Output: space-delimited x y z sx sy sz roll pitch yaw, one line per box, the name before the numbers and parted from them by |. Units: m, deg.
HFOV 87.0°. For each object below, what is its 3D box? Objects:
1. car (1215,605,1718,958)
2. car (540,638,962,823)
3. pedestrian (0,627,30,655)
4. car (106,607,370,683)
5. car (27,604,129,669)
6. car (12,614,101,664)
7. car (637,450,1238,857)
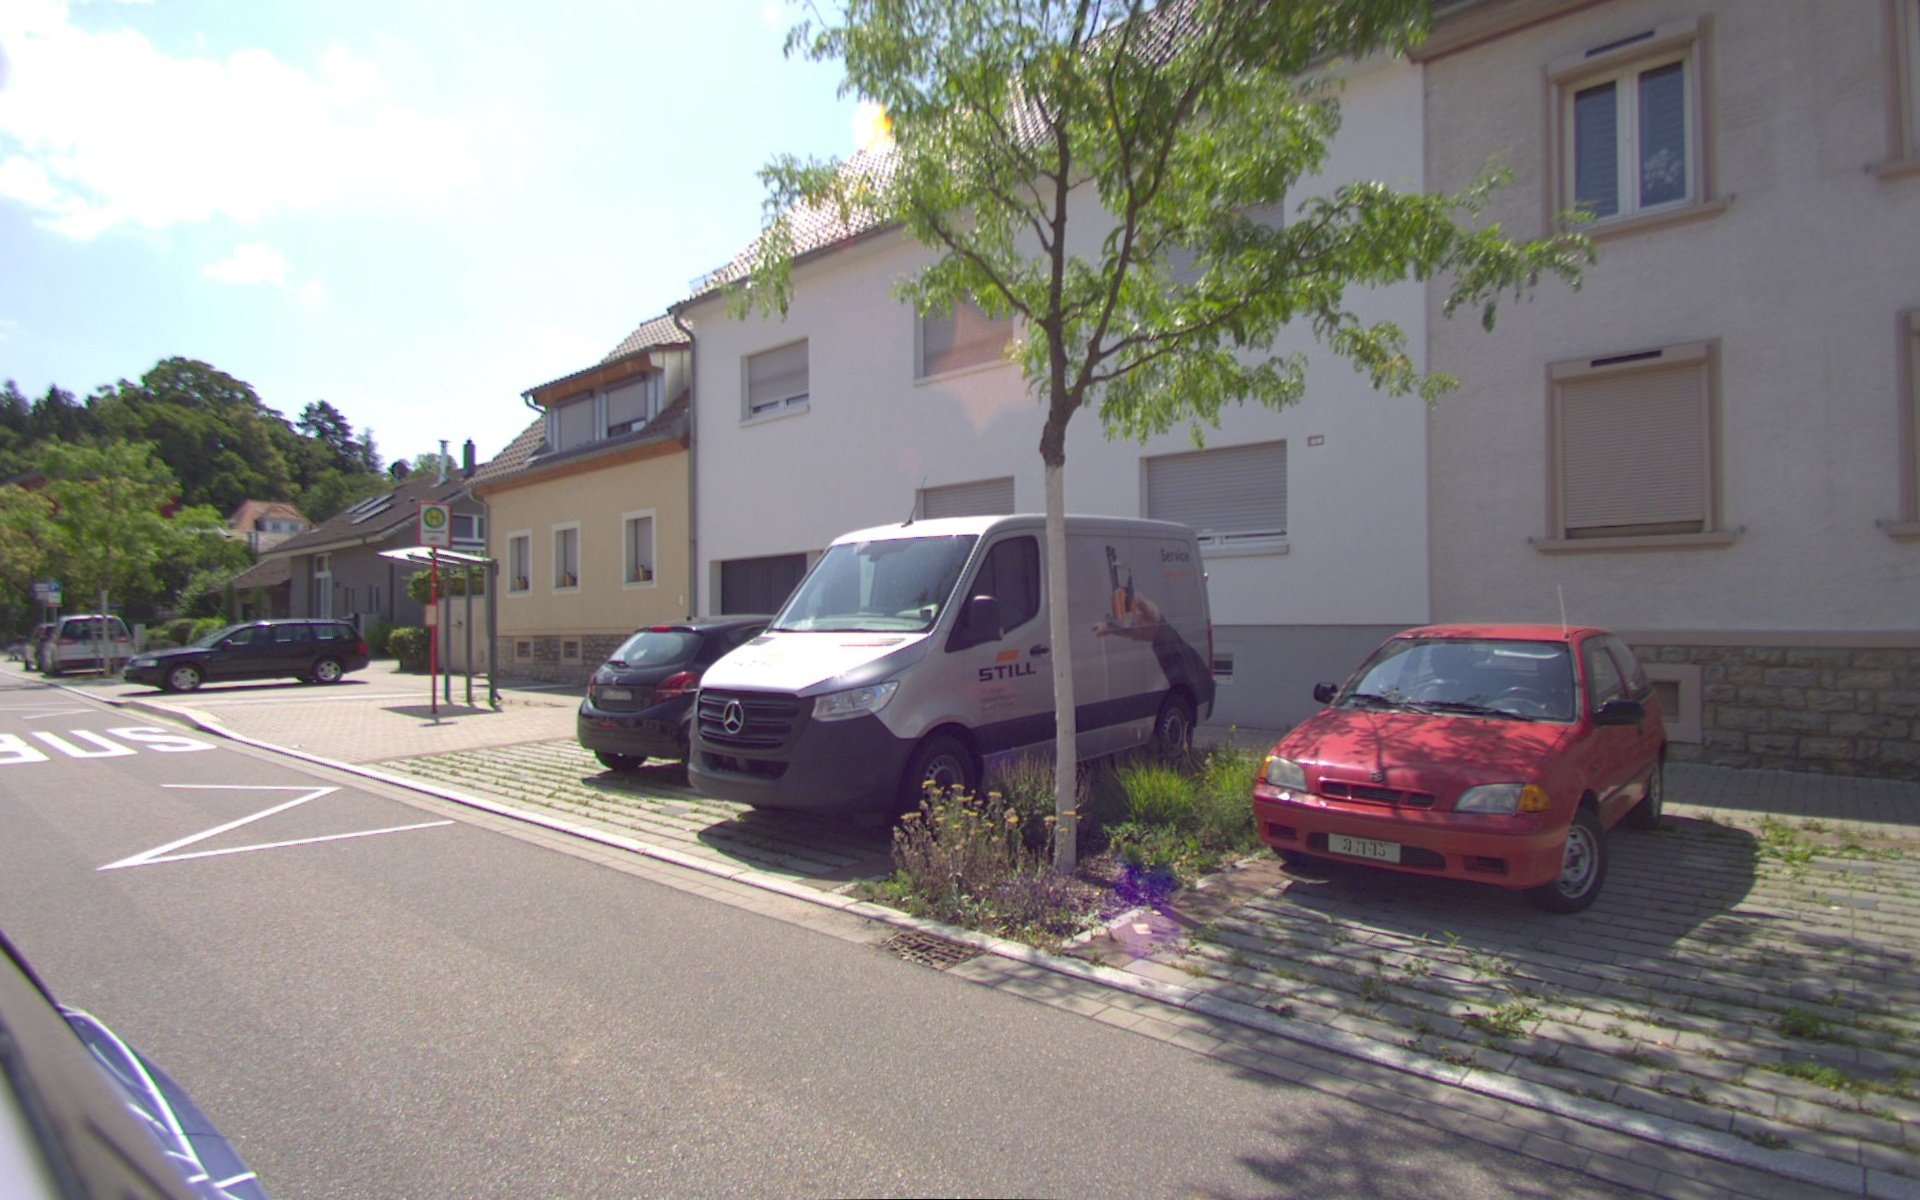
car | 3.201 0.739 6.004 1.725 1.396 3.742 -1 -1 42
car | -1.953 1.144 10.392 1.899 1.457 3.947 -2 -2 39
pedestrian | -39.581 1.704 42.379 0.884 1.150 0.806 -1 -1 38
car | -16.139 0.953 22.817 1.901 1.528 4.538 -2 -2 41
car | -25.931 1.091 29.708 4.686 1.761 1.819 -3 -2 43
car | -30.050 1.307 33.633 3.906 1.536 1.705 -3 -2 41
car | 0.184 0.330 8.406 2.155 2.305 5.114 -2 -1 40
